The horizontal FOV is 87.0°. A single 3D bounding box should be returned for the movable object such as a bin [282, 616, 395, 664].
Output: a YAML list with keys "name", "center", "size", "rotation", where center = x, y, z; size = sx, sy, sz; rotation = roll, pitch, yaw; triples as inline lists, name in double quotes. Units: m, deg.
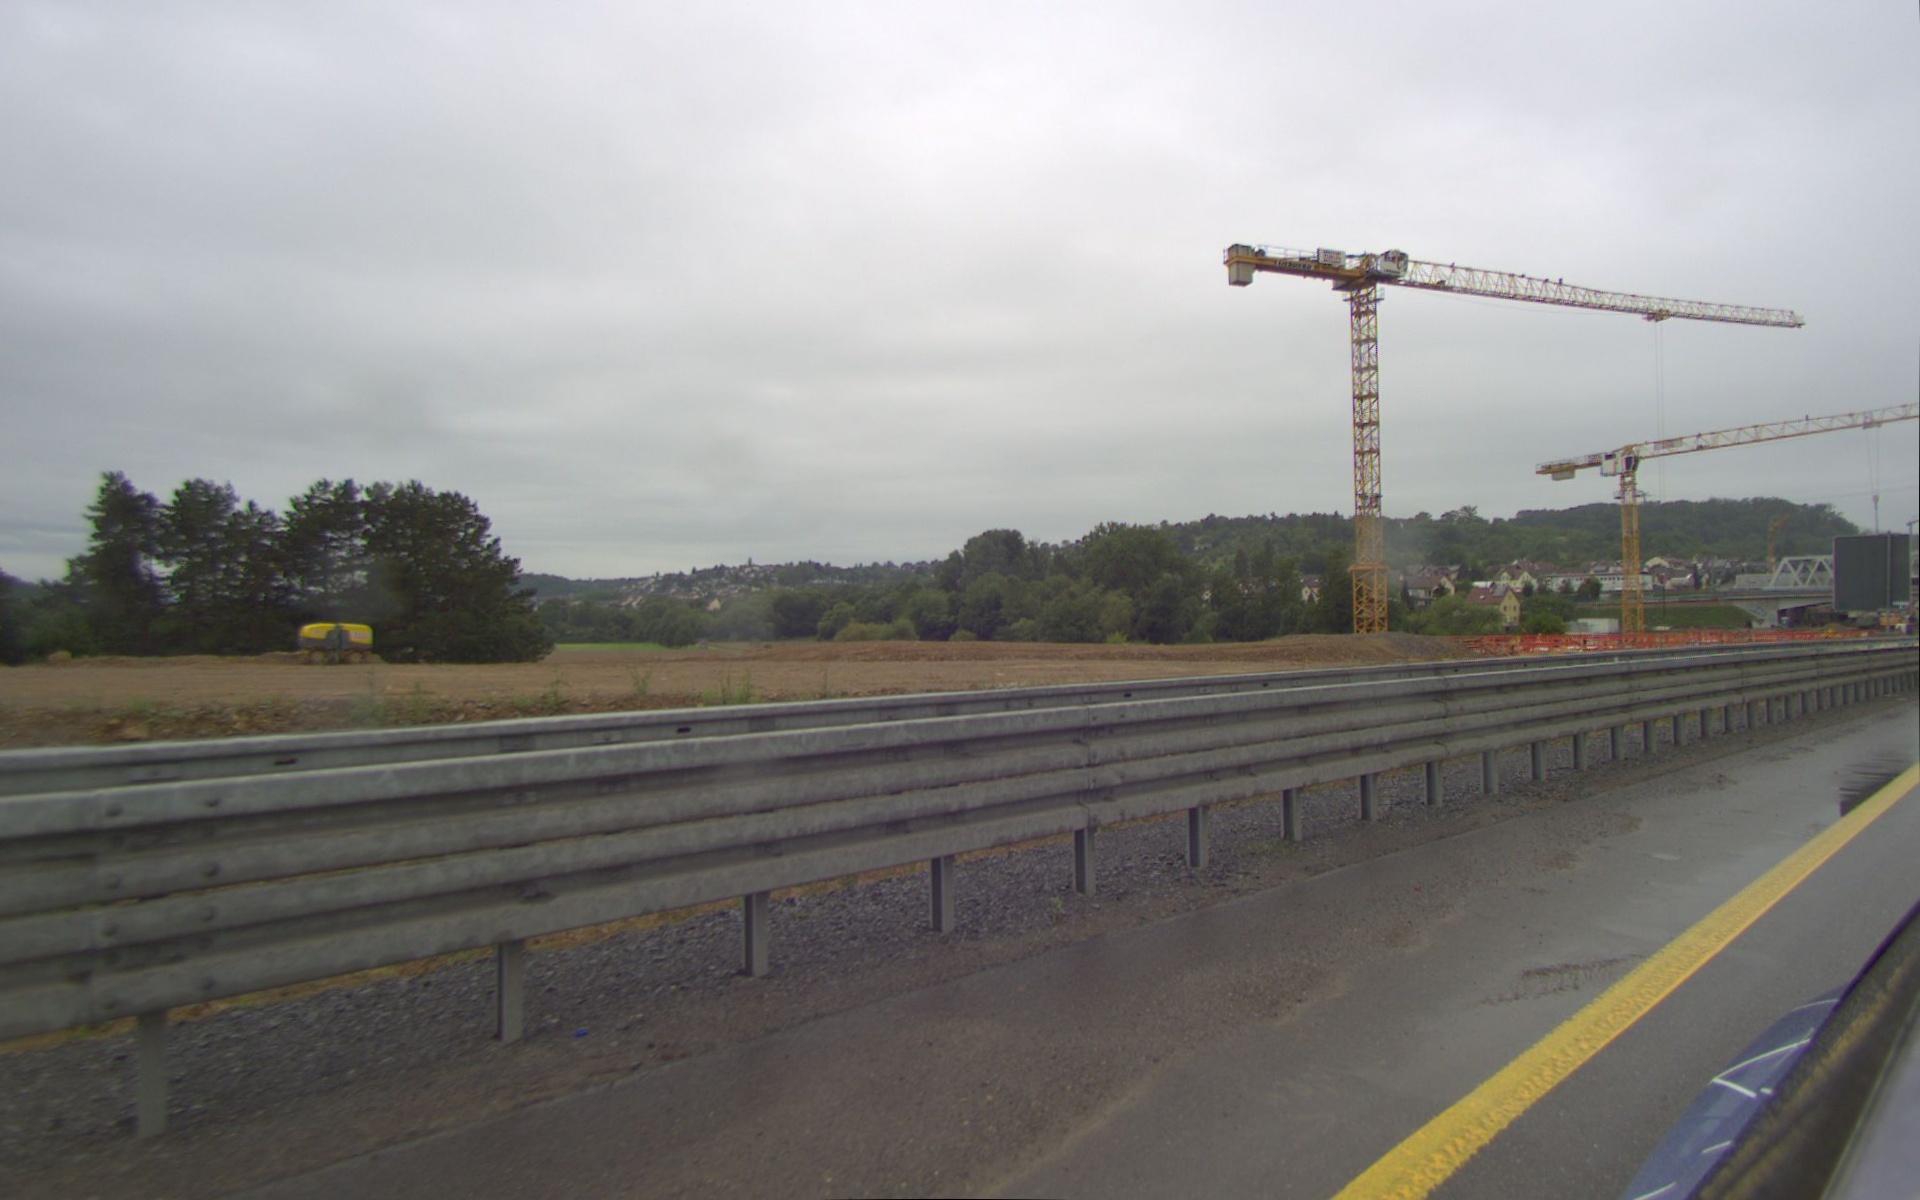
- name: "movable object such as a bin"
  center: [-18.590, 1.165, 30.322]
  size: [1.388, 1.317, 2.662]
  rotation: [0, 0, 45]
